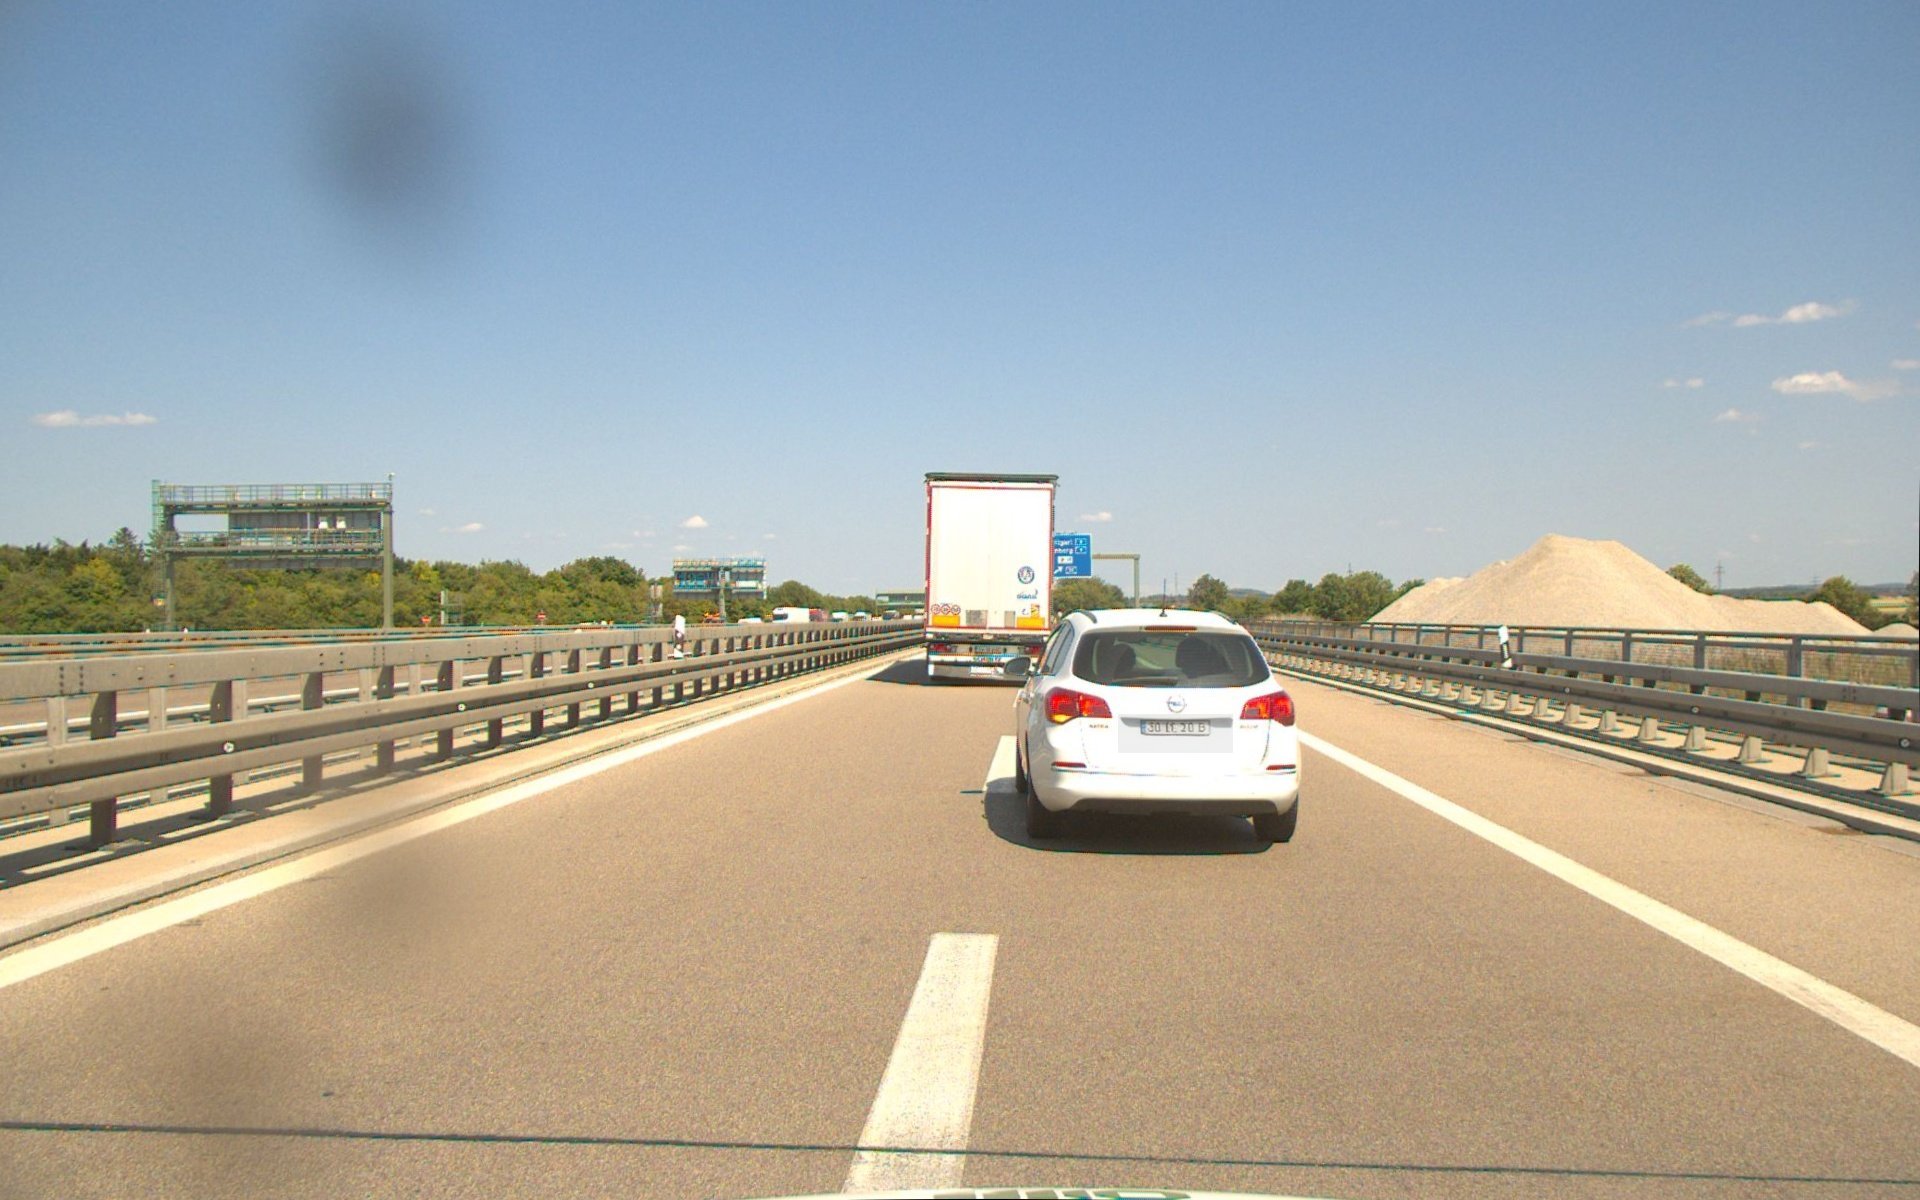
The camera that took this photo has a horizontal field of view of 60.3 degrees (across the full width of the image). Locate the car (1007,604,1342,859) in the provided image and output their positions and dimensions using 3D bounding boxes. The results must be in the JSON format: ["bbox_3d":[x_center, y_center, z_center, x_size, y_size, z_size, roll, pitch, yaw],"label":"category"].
[{"bbox_3d":[1.323,0.800,11.899,1.816,1.468,4.371,1,-1,0],"label":"car"}]

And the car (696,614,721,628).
[{"bbox_3d":[-28.460,2.374,187.254,1.799,1.544,5.299,0,-1,3],"label":"car"}]

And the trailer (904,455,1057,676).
[{"bbox_3d":[0.684,-0.520,37.452,2.851,4.218,11.260,1,-2,3],"label":"trailer"}]
